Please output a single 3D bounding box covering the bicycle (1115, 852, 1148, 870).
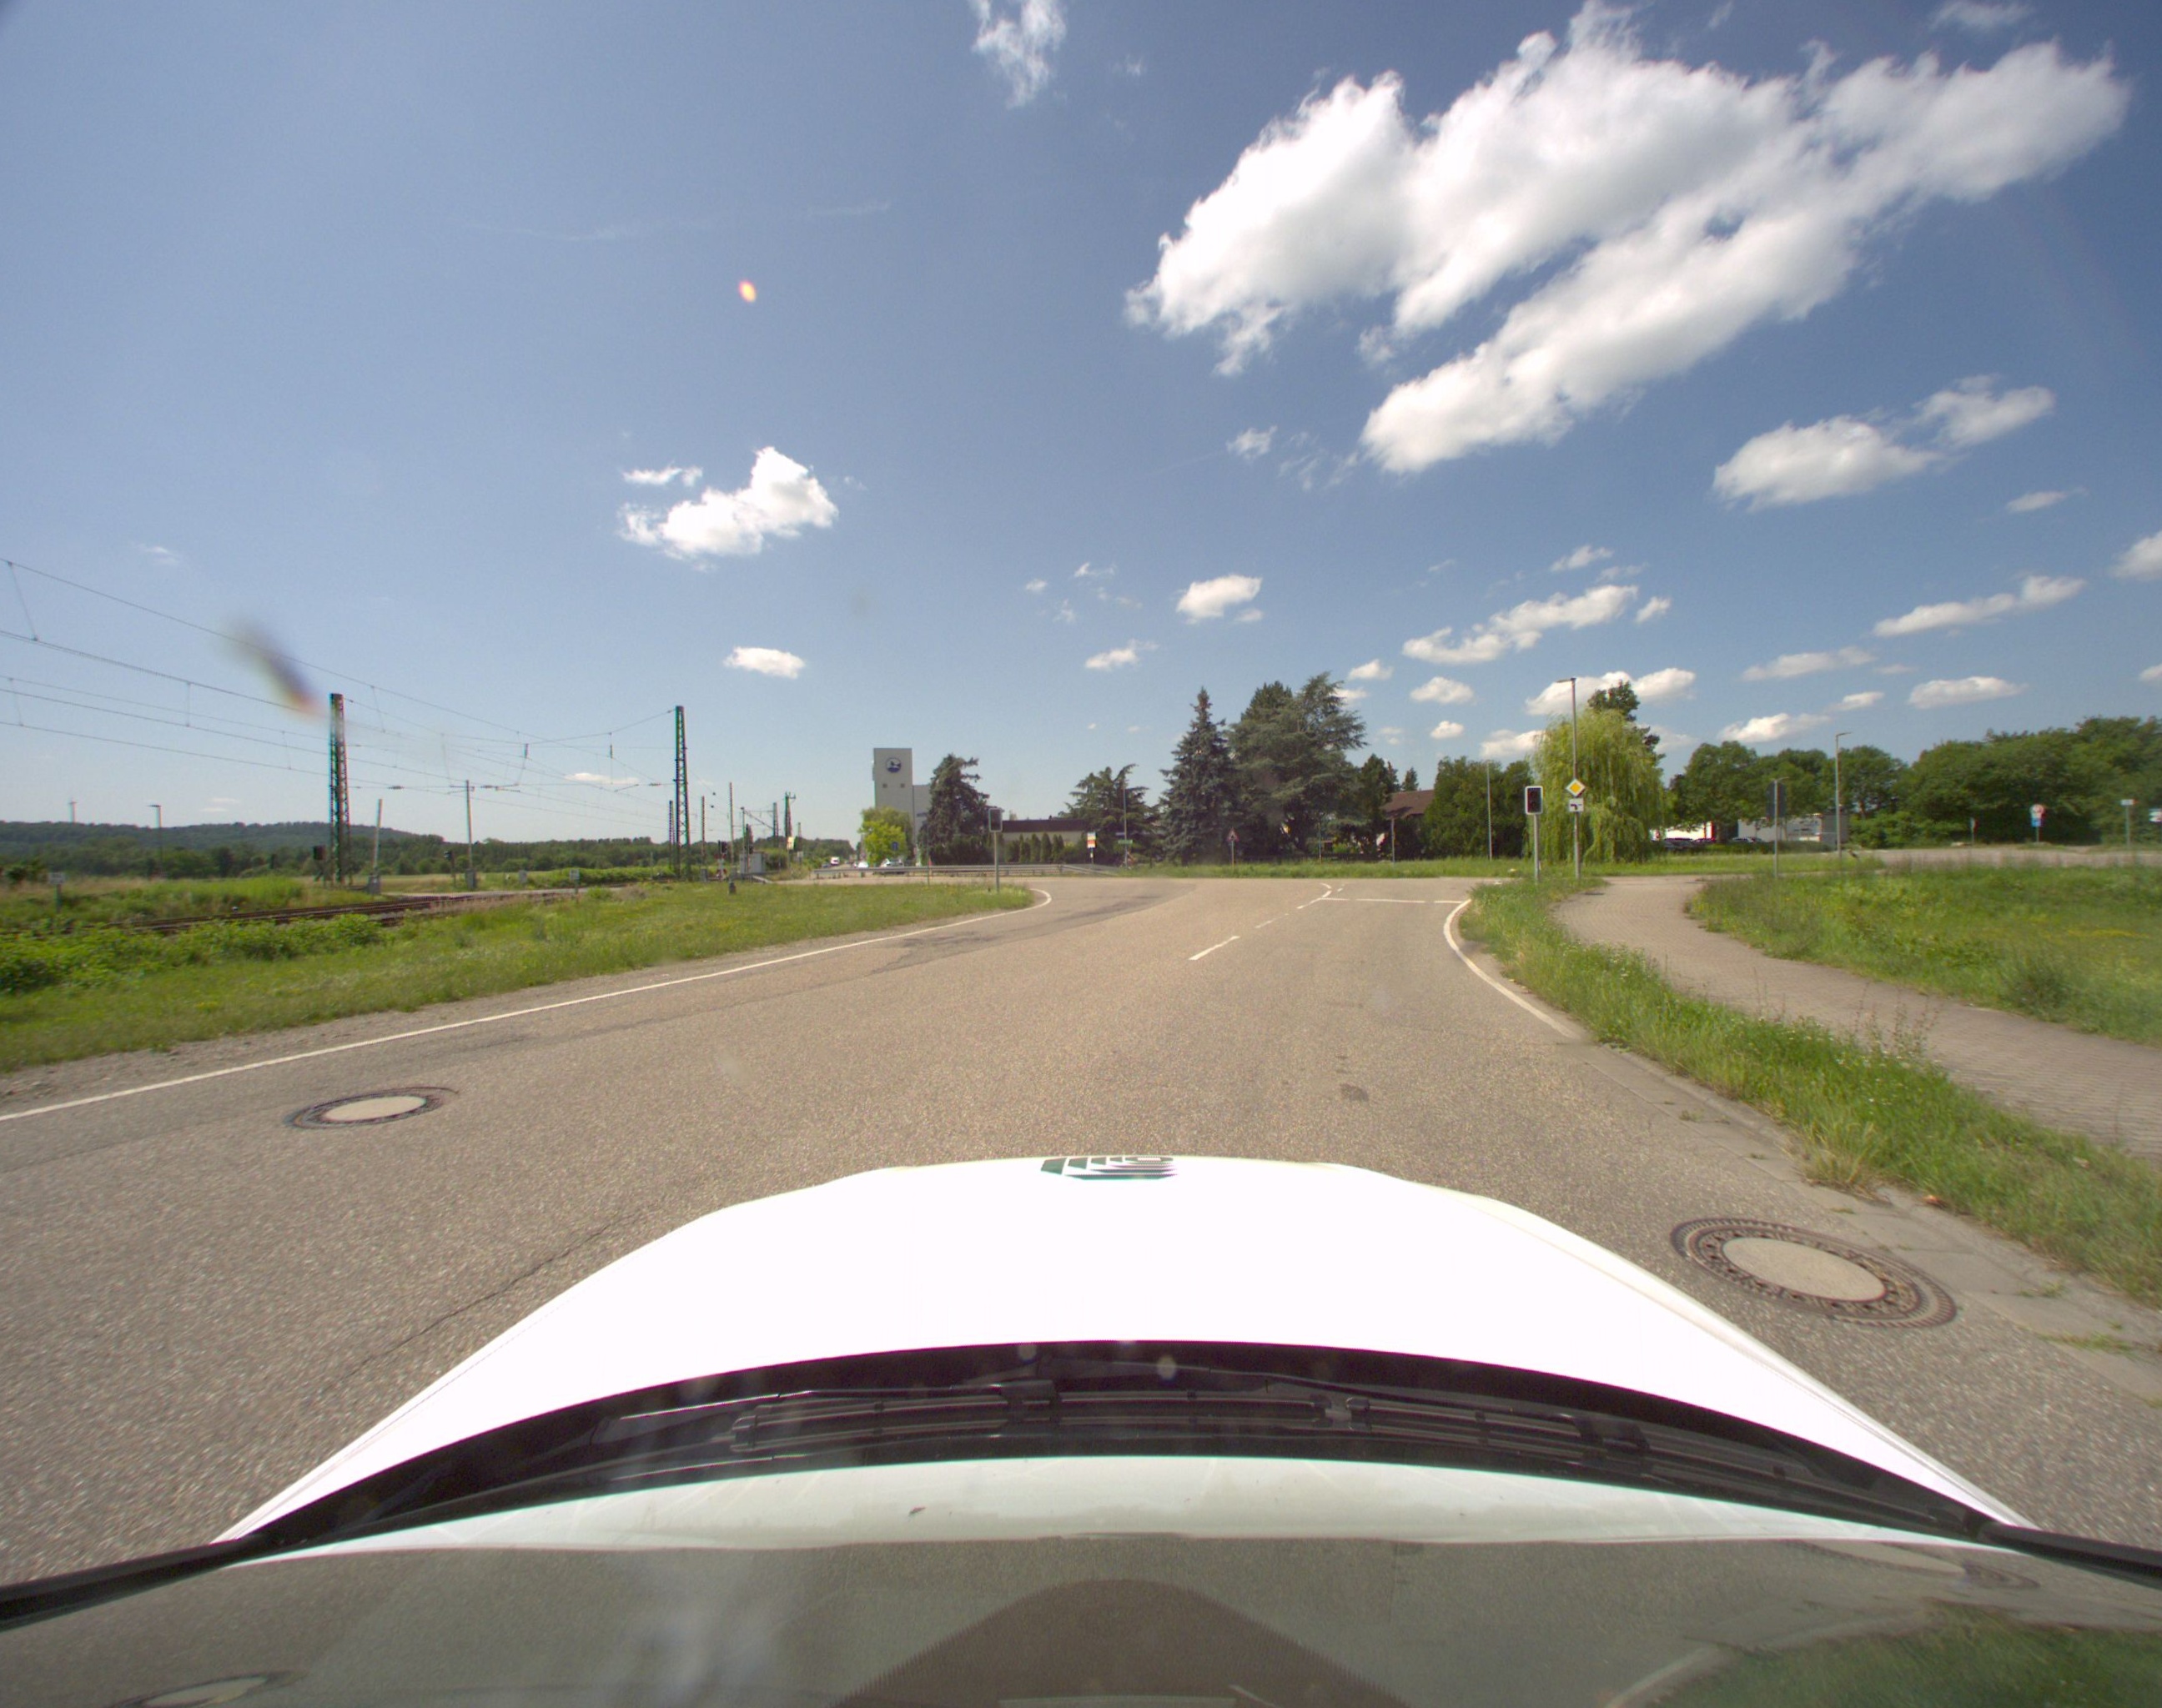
[{"bbox_3d":[3.308,0.457,53.672,2.129,1.164,0.662,-1,0,5],"label":"bicycle"}]

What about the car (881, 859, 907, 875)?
[{"bbox_3d":[-18.511,1.243,80.600,2.000,1.510,4.424,-2,0,-20],"label":"car"}]

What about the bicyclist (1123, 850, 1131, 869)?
[{"bbox_3d":[3.038,0.348,53.684,0.507,1.255,0.470,-1,0,5],"label":"bicyclist"}]
